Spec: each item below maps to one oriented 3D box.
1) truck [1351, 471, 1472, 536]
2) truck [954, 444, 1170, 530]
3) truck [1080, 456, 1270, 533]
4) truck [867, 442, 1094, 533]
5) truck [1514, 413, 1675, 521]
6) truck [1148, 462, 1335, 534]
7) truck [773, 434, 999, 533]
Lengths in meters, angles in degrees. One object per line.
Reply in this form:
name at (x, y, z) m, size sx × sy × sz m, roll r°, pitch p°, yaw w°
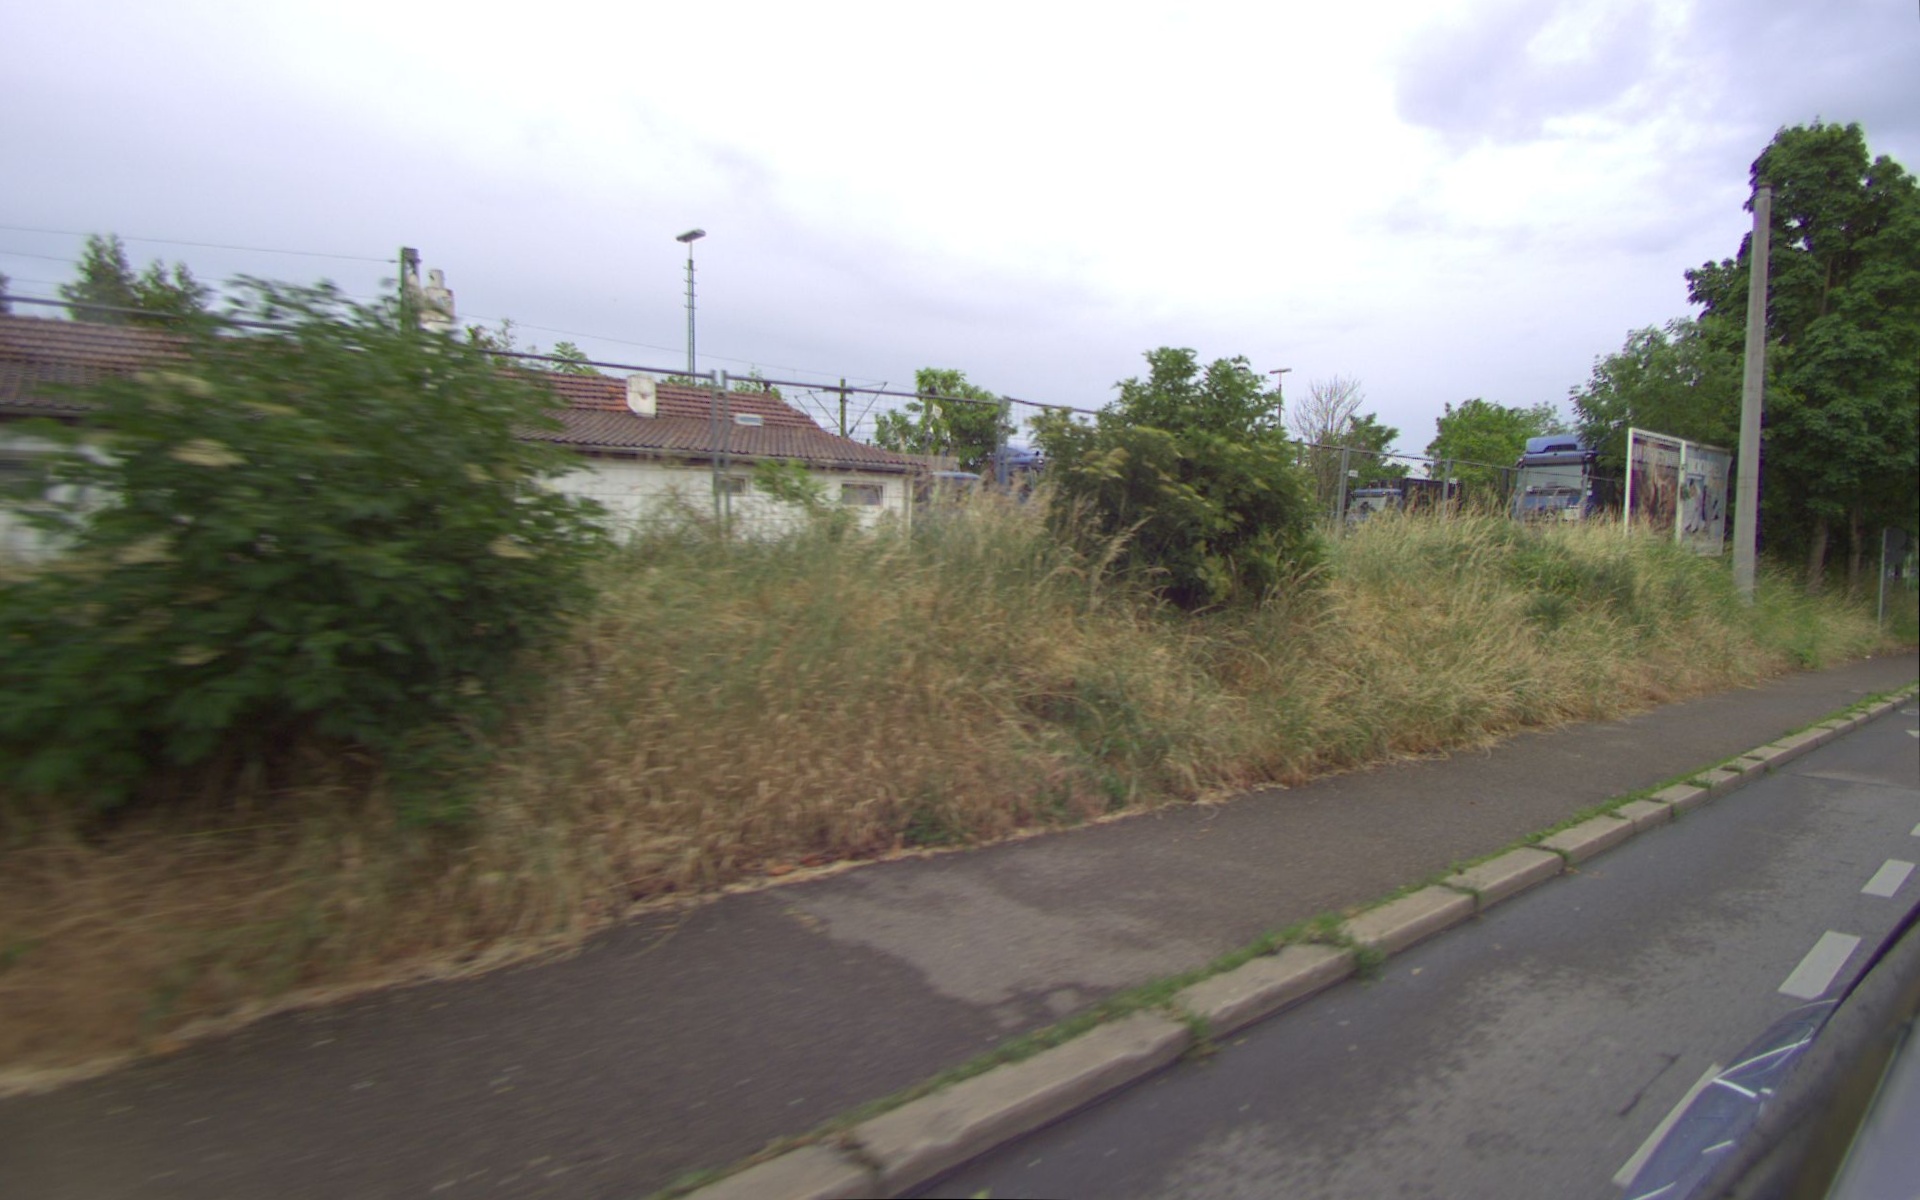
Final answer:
truck at (24.751, -5.164, 55.185) m, size 9.477 × 3.235 × 2.254 m, roll -3°, pitch 3°, yaw -41°
truck at (3.429, -3.875, 36.236) m, size 2.544 × 2.686 × 8.104 m, roll -3°, pitch 5°, yaw -42°
truck at (8.751, -4.233, 42.090) m, size 2.544 × 2.890 × 7.722 m, roll -3°, pitch 5°, yaw -42°
truck at (0.427, -3.544, 33.503) m, size 2.544 × 2.648 × 8.310 m, roll -3°, pitch 5°, yaw -42°
truck at (19.168, -3.853, 30.450) m, size 5.948 × 2.684 × 2.288 m, roll -3°, pitch -1°, yaw -41°
truck at (12.099, -4.338, 44.210) m, size 2.544 × 2.848 × 7.749 m, roll -3°, pitch 5°, yaw -42°
truck at (-2.494, -3.404, 31.186) m, size 2.587 × 2.649 × 8.013 m, roll -3°, pitch 5°, yaw -42°
